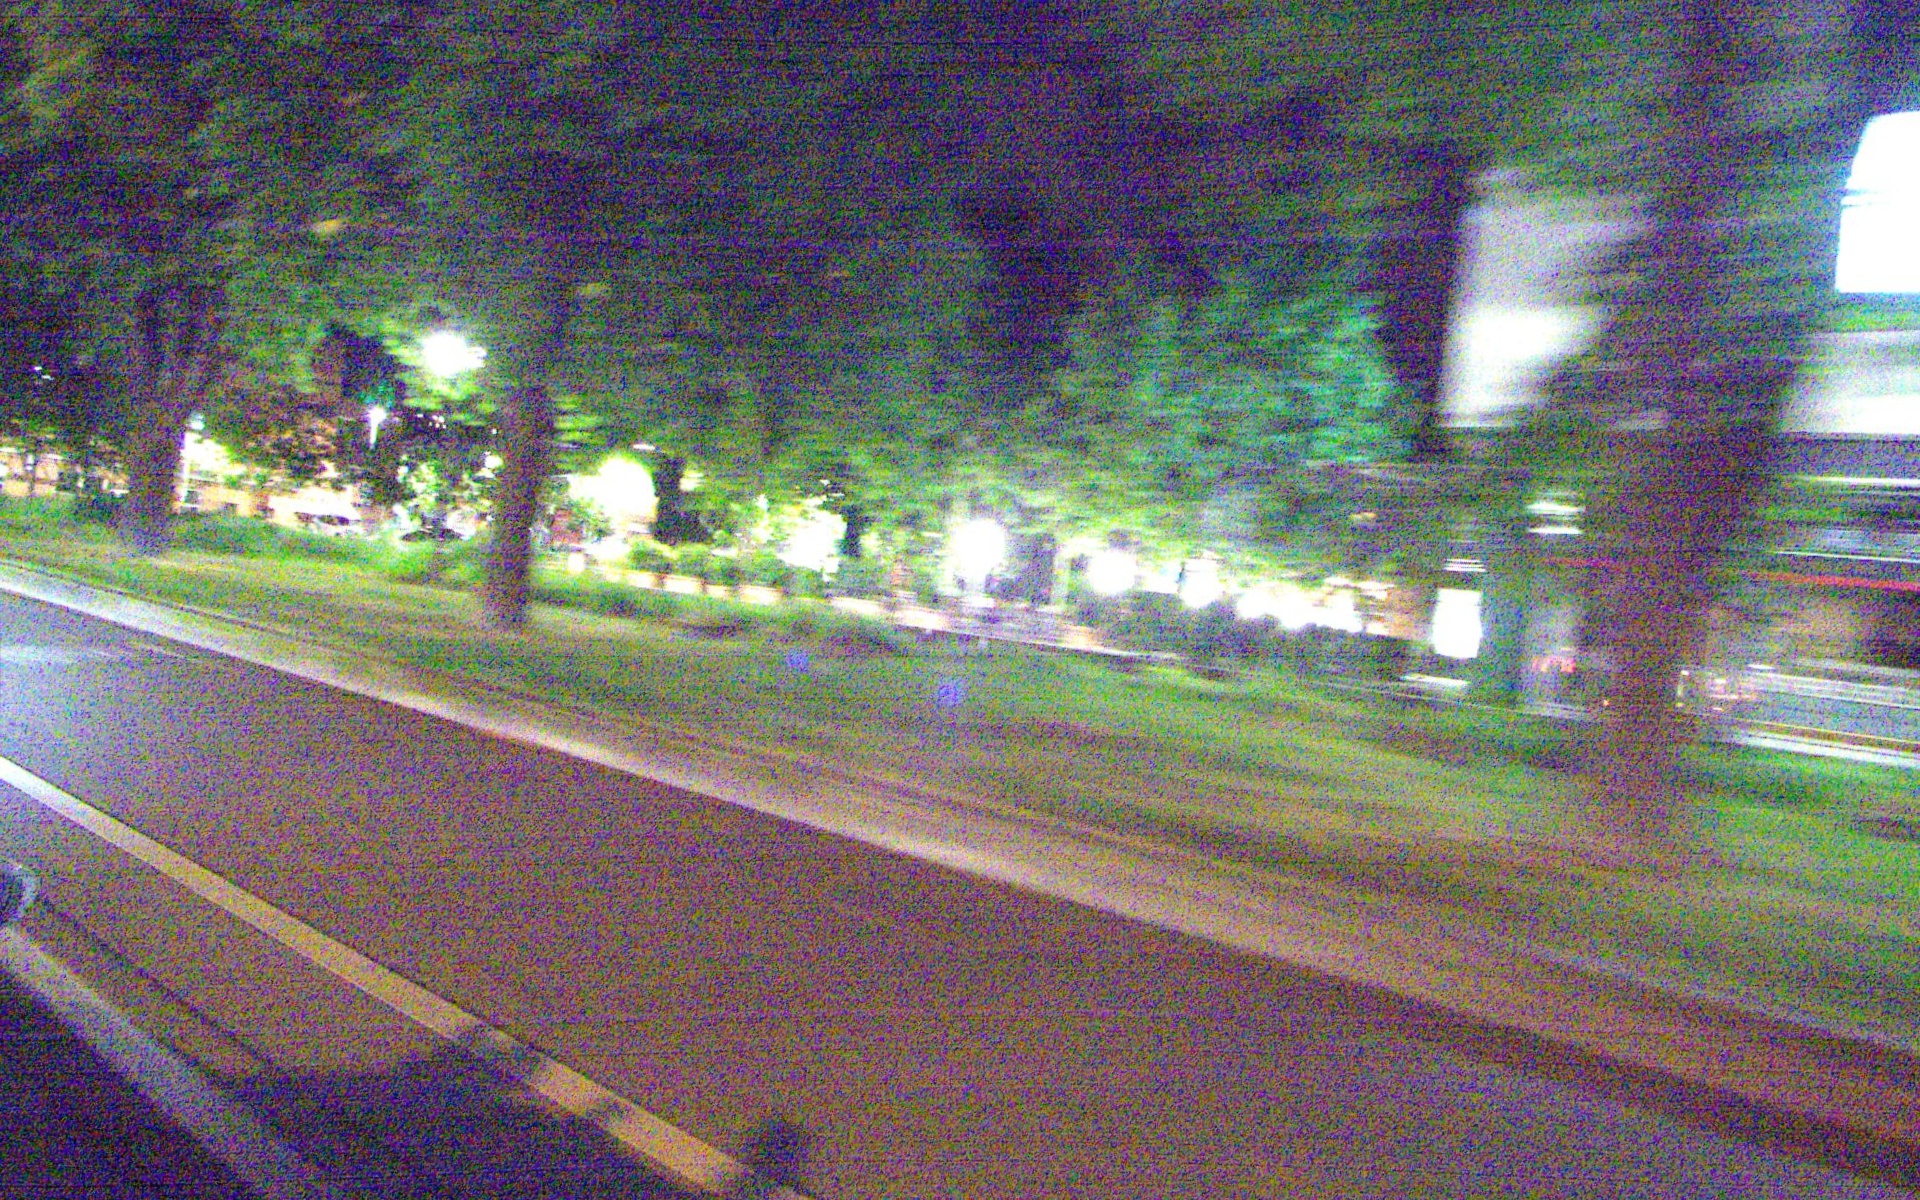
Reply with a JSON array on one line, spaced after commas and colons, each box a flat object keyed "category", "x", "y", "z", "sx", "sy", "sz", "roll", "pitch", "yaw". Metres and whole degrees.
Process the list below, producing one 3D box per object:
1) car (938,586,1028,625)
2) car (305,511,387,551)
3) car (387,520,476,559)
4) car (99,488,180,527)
[{"category": "car", "x": 1.194, "y": 0.286, "z": 52.818, "sx": 4.229, "sy": 1.527, "sz": 1.995, "roll": 7, "pitch": 2, "yaw": 31}, {"category": "car", "x": -30.528, "y": -3.434, "z": 49.978, "sx": 4.030, "sy": 1.553, "sz": 1.770, "roll": 7, "pitch": 1, "yaw": 32}, {"category": "car", "x": -28.583, "y": -3.280, "z": 54.371, "sx": 4.809, "sy": 1.532, "sz": 1.891, "roll": 7, "pitch": 1, "yaw": 30}, {"category": "car", "x": -43.097, "y": -4.871, "z": 52.820, "sx": 3.930, "sy": 1.553, "sz": 1.785, "roll": 7, "pitch": 1, "yaw": 27}]
